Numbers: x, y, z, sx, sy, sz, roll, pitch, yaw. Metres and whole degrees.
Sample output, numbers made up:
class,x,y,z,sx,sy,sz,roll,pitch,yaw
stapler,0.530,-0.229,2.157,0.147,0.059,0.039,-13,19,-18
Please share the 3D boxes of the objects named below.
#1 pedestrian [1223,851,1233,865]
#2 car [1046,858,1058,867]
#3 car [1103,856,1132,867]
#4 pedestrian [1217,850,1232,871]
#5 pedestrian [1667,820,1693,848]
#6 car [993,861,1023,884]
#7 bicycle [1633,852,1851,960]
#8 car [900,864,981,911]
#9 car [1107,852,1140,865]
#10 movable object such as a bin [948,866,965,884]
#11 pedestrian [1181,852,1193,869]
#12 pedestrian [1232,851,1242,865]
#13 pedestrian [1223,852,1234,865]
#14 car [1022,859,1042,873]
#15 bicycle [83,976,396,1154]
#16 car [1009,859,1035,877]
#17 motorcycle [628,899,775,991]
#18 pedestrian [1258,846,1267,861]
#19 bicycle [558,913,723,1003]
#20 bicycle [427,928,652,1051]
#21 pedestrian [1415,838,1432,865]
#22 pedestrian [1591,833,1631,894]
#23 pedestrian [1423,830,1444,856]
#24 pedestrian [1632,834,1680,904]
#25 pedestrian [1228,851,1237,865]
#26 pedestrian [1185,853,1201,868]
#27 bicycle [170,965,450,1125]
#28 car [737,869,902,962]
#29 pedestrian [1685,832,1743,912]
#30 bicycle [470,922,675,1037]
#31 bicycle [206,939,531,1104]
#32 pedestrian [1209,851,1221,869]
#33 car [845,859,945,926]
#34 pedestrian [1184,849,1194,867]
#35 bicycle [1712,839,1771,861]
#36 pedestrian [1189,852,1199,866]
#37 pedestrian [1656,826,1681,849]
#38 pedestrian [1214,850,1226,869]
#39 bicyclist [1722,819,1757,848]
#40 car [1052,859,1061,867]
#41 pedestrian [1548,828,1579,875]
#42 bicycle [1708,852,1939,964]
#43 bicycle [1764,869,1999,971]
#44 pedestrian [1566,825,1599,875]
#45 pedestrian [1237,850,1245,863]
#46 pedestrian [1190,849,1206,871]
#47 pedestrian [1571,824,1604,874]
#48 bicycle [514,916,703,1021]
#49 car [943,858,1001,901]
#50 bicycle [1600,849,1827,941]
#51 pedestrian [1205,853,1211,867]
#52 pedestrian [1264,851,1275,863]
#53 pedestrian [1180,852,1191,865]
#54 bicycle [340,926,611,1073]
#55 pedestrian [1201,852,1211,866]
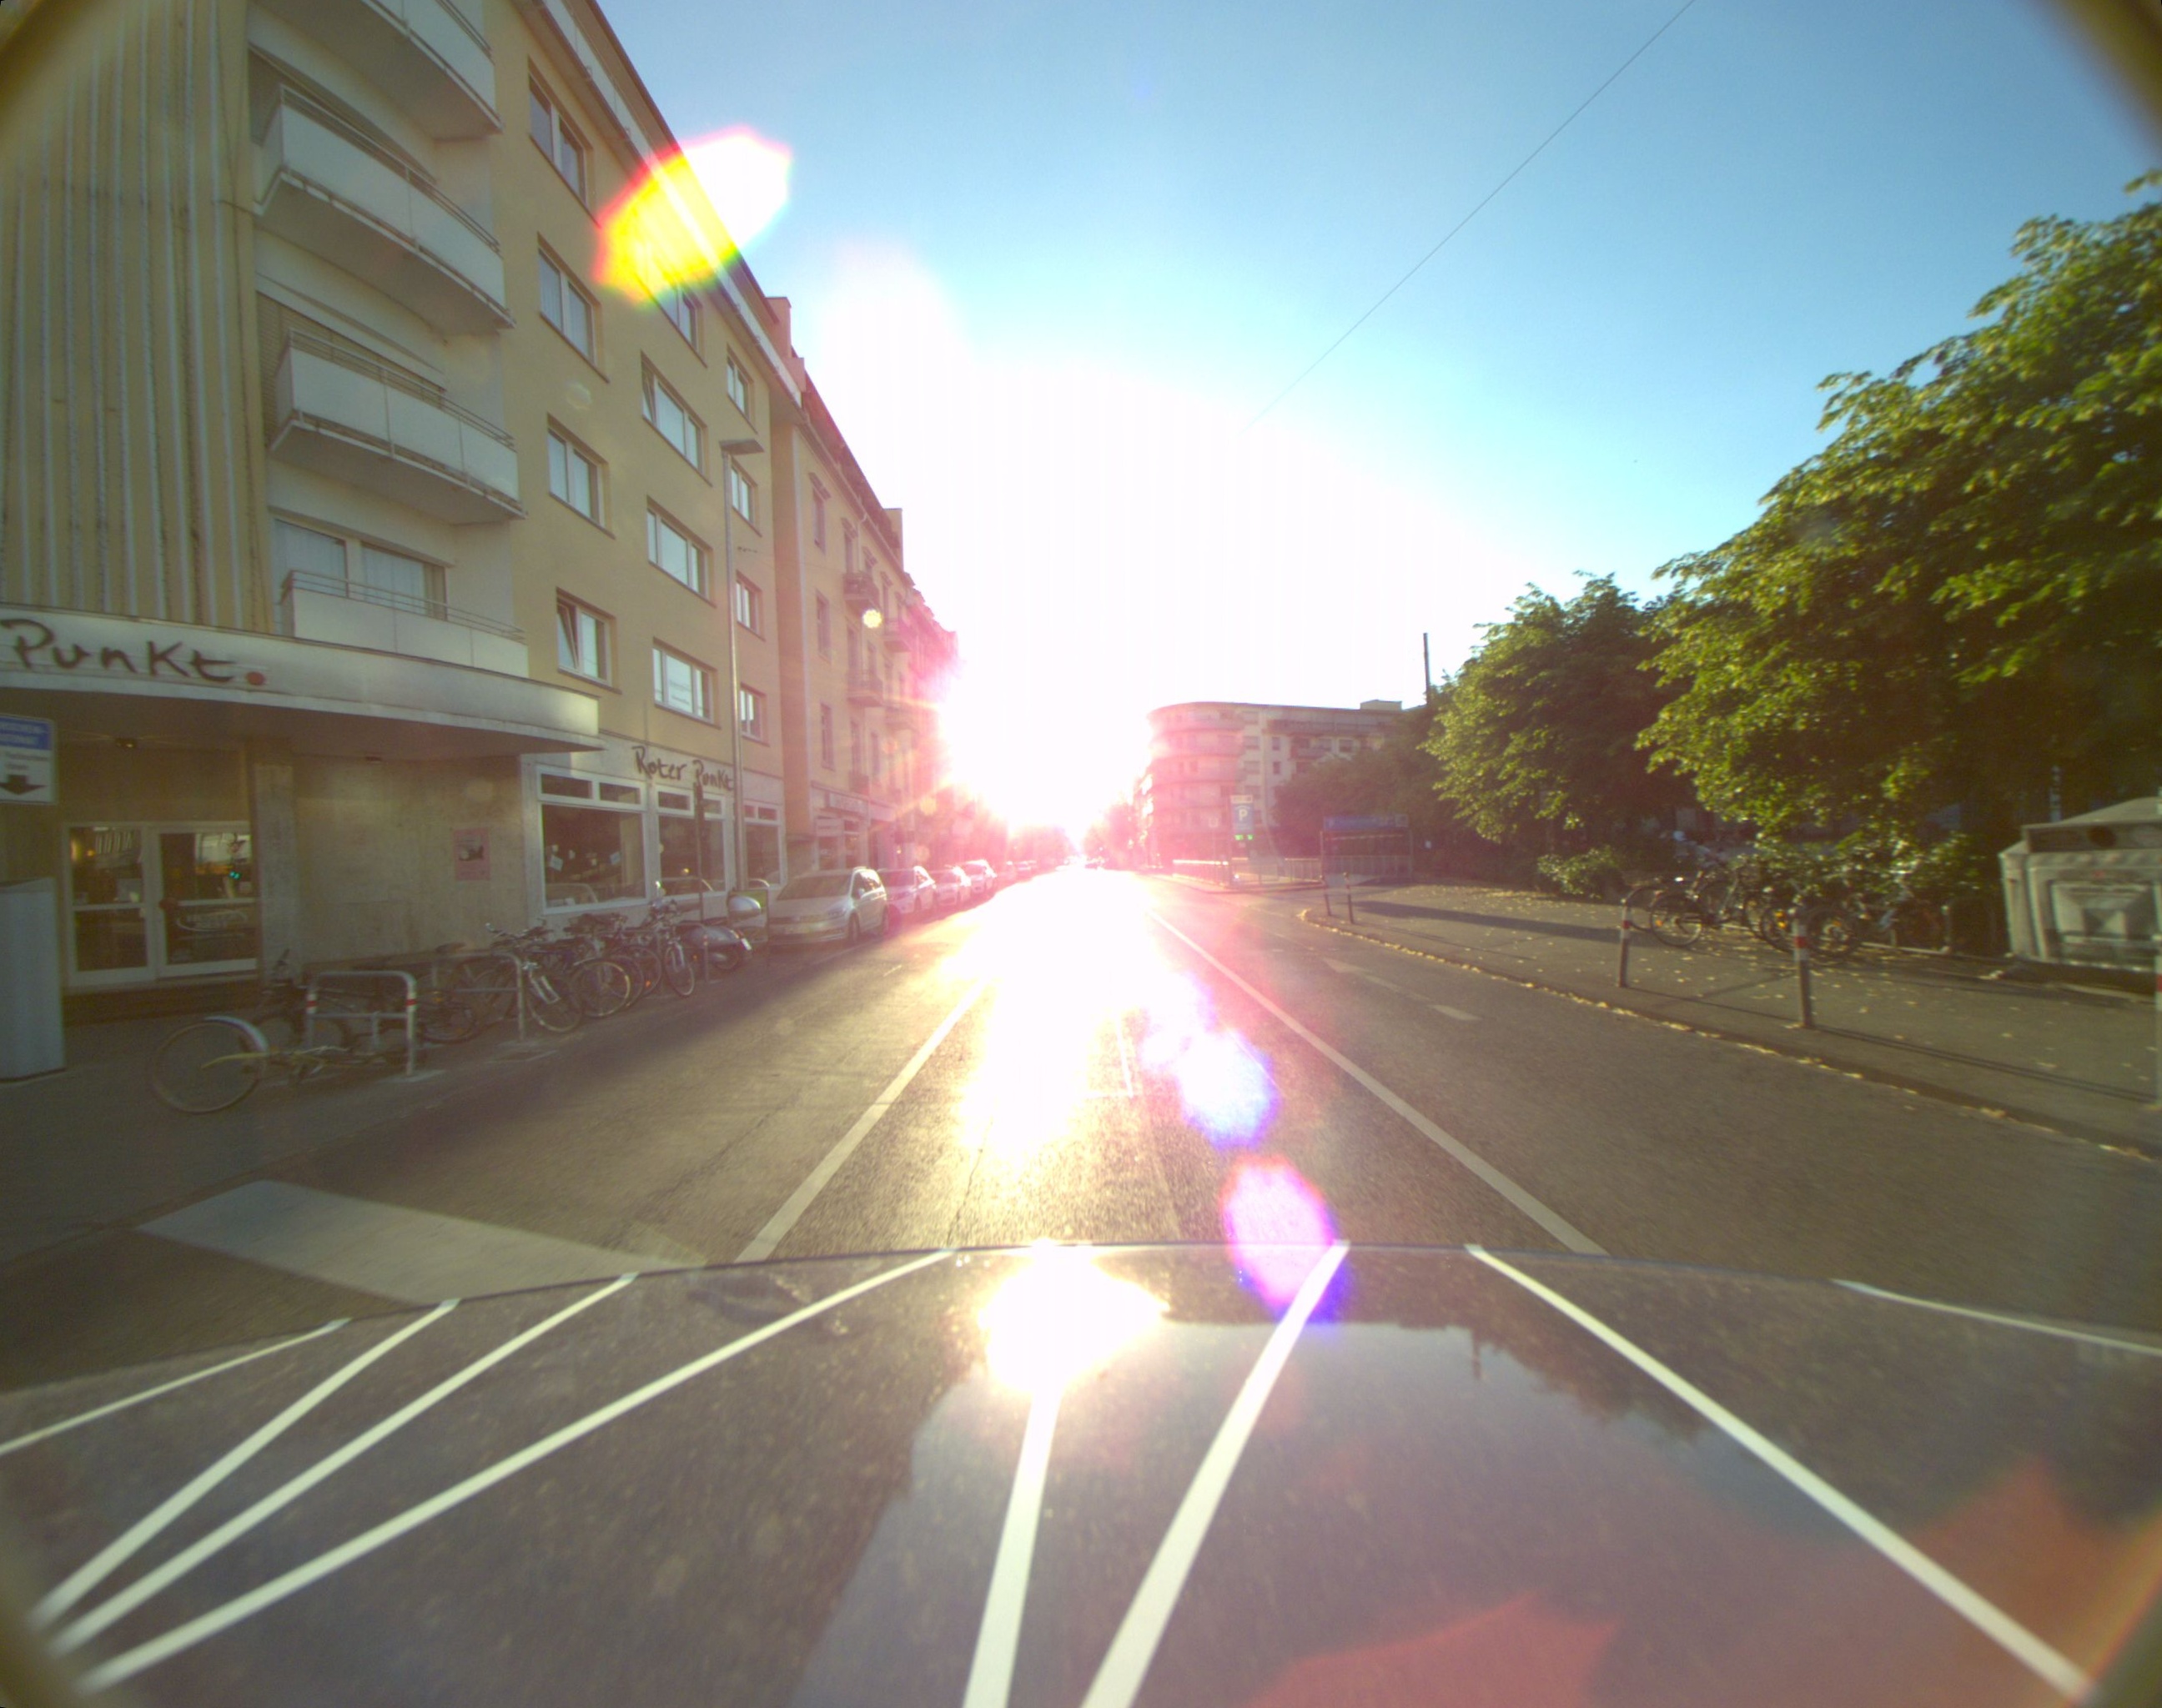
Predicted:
class,x,y,z,sx,sy,sz,roll,pitch,yaw
pedestrian,16.006,0.452,82.743,0.760,1.528,0.712,-2,4,-27
car,-5.058,1.538,133.930,1.999,1.543,4.000,-2,0,-1
car,5.235,1.028,109.262,3.998,1.412,1.999,-2,0,-3
pedestrian,12.525,0.590,66.278,0.982,1.783,0.892,-3,-1,34
pedestrian,36.177,-1.183,45.870,1.269,1.638,0.707,-3,0,-27
car,-5.248,1.355,55.011,1.704,1.575,4.001,-2,-1,1
bicycle,8.800,0.679,10.156,2.437,1.230,0.517,-4,0,-1
car,-5.180,1.212,28.704,2.021,1.534,4.871,-3,-1,1
car,5.909,0.622,106.981,4.442,1.532,1.817,-2,0,-1
movable object such as a bin,-8.535,1.405,52.128,0.868,1.179,1.398,-2,0,0
pedestrian,11.214,0.706,80.502,0.870,1.783,0.850,-2,-1,-22
pedestrian,17.217,0.426,83.888,0.680,1.526,0.851,-2,-1,-27
pedestrian,16.316,0.492,84.030,0.784,1.495,0.768,-2,0,-26
car,-5.573,1.410,86.817,1.998,1.511,4.001,-2,-1,1
bicycle,-5.795,1.433,5.283,1.504,1.009,0.512,-3,0,-2
car,-5.238,1.269,68.318,1.999,1.525,4.682,-3,-1,-1
motorcycle,-5.702,1.351,11.486,1.817,1.256,0.716,-2,0,-2
pedestrian,20.987,-0.009,87.809,0.669,1.710,0.717,-2,0,-25
bicycle,-6.106,1.424,10.591,1.889,1.106,0.593,-2,0,-3
bicycle,-5.746,1.424,8.135,1.889,1.106,0.601,-3,0,-2
pedestrian,25.161,-0.176,55.852,0.781,1.864,0.714,-2,-1,-14
pedestrian,17.294,0.309,24.823,0.803,1.936,0.731,-3,0,13
pedestrian,26.088,-0.816,56.278,0.986,1.842,0.888,-2,-1,-30
pedestrian,16.465,0.414,21.772,0.803,1.936,0.731,-3,0,13
pedestrian,16.609,0.431,83.275,0.701,1.519,0.649,-2,4,-28
pedestrian,12.031,0.668,81.798,0.691,1.525,0.713,41,-6,-10
bicycle,-5.798,1.418,5.771,1.504,1.020,0.512,-2,0,-4
car,-5.558,1.221,16.888,1.999,1.603,4.803,-3,0,-1
pedestrian,15.739,0.438,18.913,0.803,1.936,0.731,-3,0,13
bicycle,-5.765,1.409,8.675,1.889,1.106,0.521,-3,0,-3
bicycle,-5.884,1.359,6.374,1.889,1.106,0.762,-3,0,-3
pedestrian,13.552,0.617,76.674,0.884,1.792,0.713,-2,-1,-24
car,-5.549,1.123,23.230,1.872,1.751,4.409,-3,-1,0
pedestrian,11.291,0.395,79.426,0.737,1.783,0.811,-2,-1,-22
bicycle,36.900,-0.205,42.467,2.326,1.095,0.952,-2,0,5
pedestrian,12.348,0.543,82.727,0.713,1.526,0.855,-3,-1,32
pedestrian,36.076,-1.001,46.655,1.269,1.372,0.736,-2,0,-28
pedestrian,14.112,0.532,77.134,0.853,1.865,0.713,-2,-1,-23
bicyclist,36.802,-1.133,42.484,0.752,1.501,1.382,-2,0,6
car,-5.137,1.881,158.930,1.756,1.543,4.286,-2,0,-1
pedestrian,21.259,-0.128,33.495,0.912,2.002,0.920,-3,0,23
bicycle,9.224,0.656,9.470,2.437,1.230,0.462,-3,0,-1
bicycle,9.317,0.749,8.884,2.048,0.965,0.636,-5,0,-1
pedestrian,20.931,-0.165,31.742,0.912,2.002,0.920,-3,0,23
pedestrian,17.766,0.236,84.254,0.562,1.426,0.666,-2,2,-26
pedestrian,10.133,0.540,65.839,0.891,1.872,0.983,-2,-1,-22
pedestrian,20.874,-0.208,31.348,0.912,2.002,0.920,-3,0,23
bicycle,-5.869,1.415,9.509,1.889,1.106,0.593,-3,2,-3
car,-4.847,1.124,34.409,1.887,1.734,4.660,-3,-1,0
bicycle,9.582,0.636,11.660,2.506,1.276,0.817,-3,0,21
pedestrian,13.922,0.636,83.361,0.647,1.526,0.753,-3,-1,9
pedestrian,21.065,0.388,85.040,0.850,1.271,0.715,-1,4,44
pedestrian,11.239,0.454,81.599,0.684,1.274,0.969,-2,2,41
bicycle,-5.651,1.335,7.181,1.889,1.160,0.723,-2,0,-3
pedestrian,13.413,0.536,81.486,0.854,1.528,0.713,-2,4,-22
